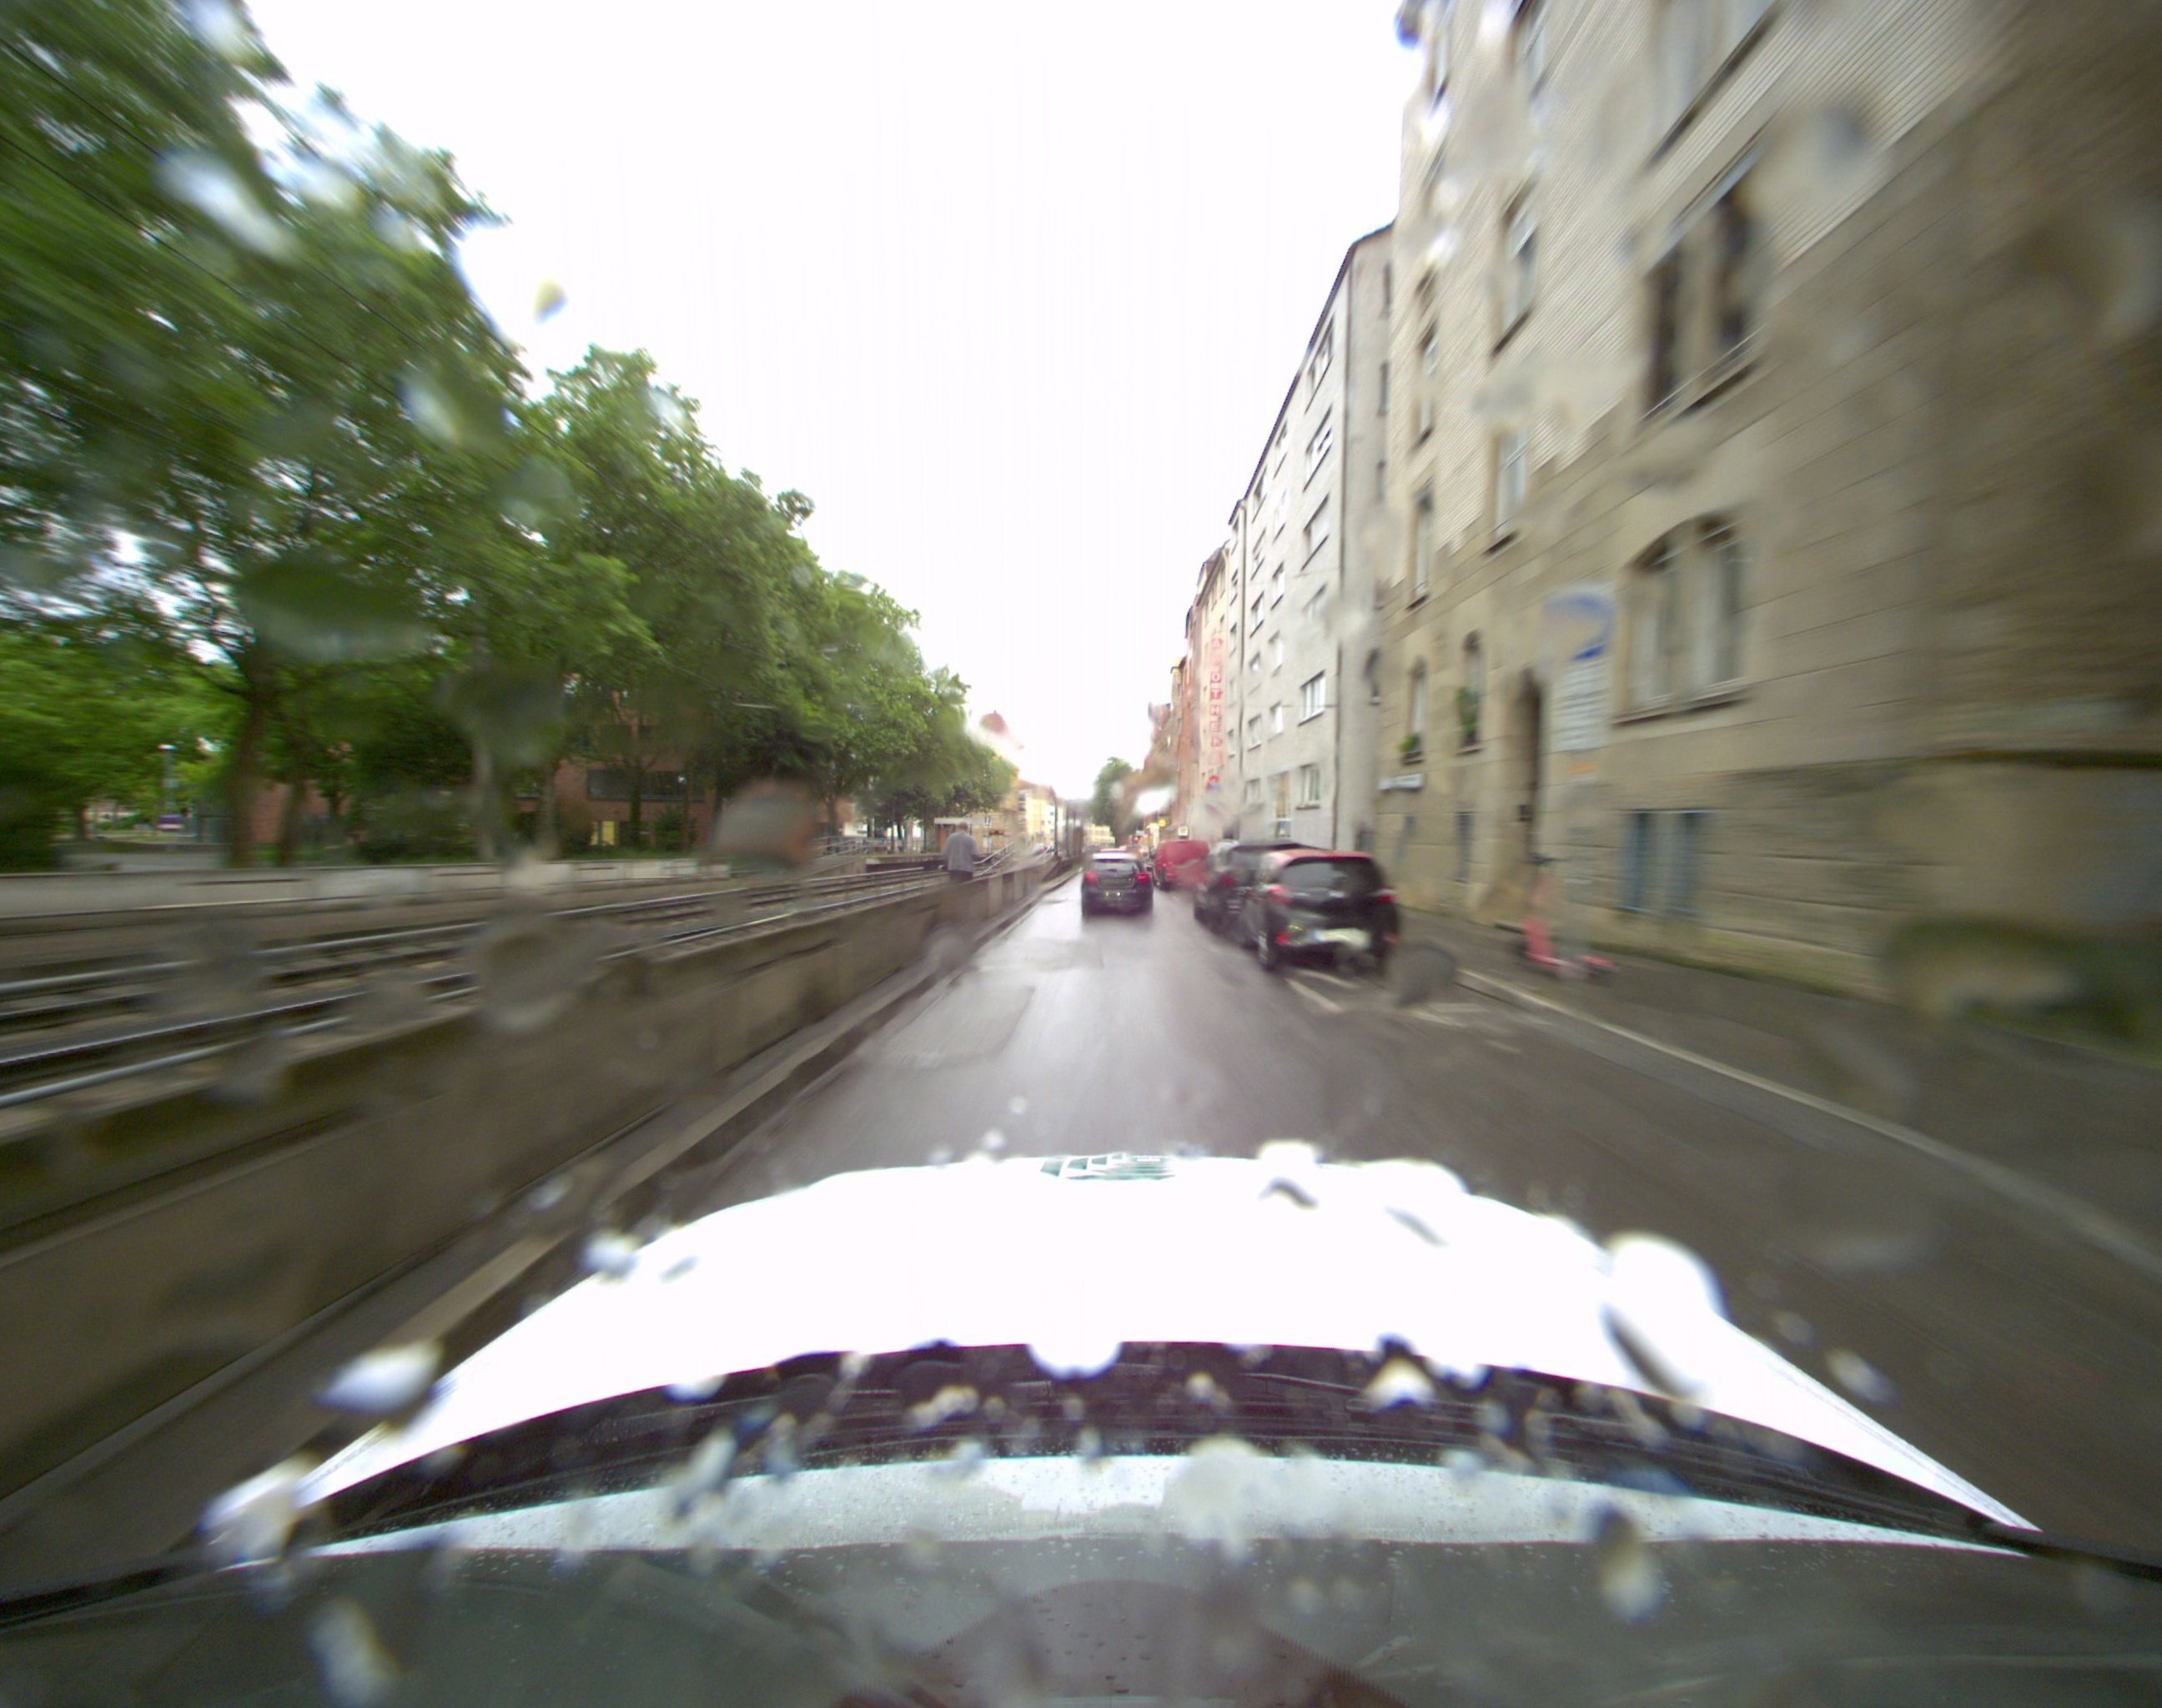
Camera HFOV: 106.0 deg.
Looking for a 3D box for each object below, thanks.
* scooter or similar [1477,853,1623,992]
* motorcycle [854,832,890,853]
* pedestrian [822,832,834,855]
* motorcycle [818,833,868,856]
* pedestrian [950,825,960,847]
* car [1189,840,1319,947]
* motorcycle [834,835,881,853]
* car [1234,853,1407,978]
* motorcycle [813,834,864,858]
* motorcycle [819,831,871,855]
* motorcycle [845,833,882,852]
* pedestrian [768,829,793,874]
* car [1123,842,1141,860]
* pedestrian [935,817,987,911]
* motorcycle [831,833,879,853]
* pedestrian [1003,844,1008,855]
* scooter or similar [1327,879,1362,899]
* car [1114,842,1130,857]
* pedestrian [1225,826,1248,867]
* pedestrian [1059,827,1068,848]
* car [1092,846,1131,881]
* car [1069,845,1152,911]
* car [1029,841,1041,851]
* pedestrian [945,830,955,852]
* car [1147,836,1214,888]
[{"bbox_3d":[4.857,0.655,8.542,0.366,1.315,1.562,-1,0,-11],"label":"scooter or similar"},{"bbox_3d":[-19.227,-1.088,74.931,3.026,1.815,0.993,1,1,0],"label":"motorcycle"},{"bbox_3d":[-21.938,-0.916,70.677,0.730,2.013,0.981,1,1,1],"label":"pedestrian"},{"bbox_3d":[-19.817,-0.792,67.811,3.851,1.815,1.006,1,1,0],"label":"motorcycle"},{"bbox_3d":[-9.764,-1.406,63.161,0.684,1.641,0.564,2,2,-1],"label":"pedestrian"},{"bbox_3d":[3.189,0.626,15.875,1.758,1.708,4.503,1,2,3],"label":"car"},{"bbox_3d":[-19.724,-0.870,72.031,3.851,1.487,1.006,1,1,0],"label":"motorcycle"},{"bbox_3d":[3.136,0.729,11.331,1.653,1.452,3.615,-1,0,6],"label":"car"},{"bbox_3d":[-19.854,-0.652,66.665,3.851,1.815,1.006,1,1,0],"label":"motorcycle"},{"bbox_3d":[-18.835,-0.873,65.093,3.851,1.773,1.006,1,1,0],"label":"motorcycle"},{"bbox_3d":[-19.514,-1.010,73.163,3.048,1.627,1.006,1,1,0],"label":"motorcycle"},{"bbox_3d":[-11.494,-0.114,31.151,0.655,1.662,0.688,2,3,1],"label":"pedestrian"},{"bbox_3d":[5.718,-0.411,91.583,1.913,1.935,4.689,1,1,3],"label":"car"},{"bbox_3d":[-2.362,0.180,16.147,0.856,1.799,0.787,1,1,1],"label":"pedestrian"},{"bbox_3d":[-19.409,-0.968,70.020,3.851,1.605,1.006,1,1,0],"label":"motorcycle"},{"bbox_3d":[-12.145,-0.679,130.448,0.758,1.750,0.645,0,2,3],"label":"pedestrian"},{"bbox_3d":[7.219,0.946,22.323,0.850,0.506,0.260,1,1,32],"label":"scooter or similar"},{"bbox_3d":[5.367,-0.607,107.059,1.927,1.831,4.280,1,1,-1],"label":"car"},{"bbox_3d":[6.886,-0.348,36.125,0.848,1.757,0.838,2,1,2],"label":"pedestrian"},{"bbox_3d":[-1.370,-1.245,62.739,0.492,1.604,0.640,1,1,18],"label":"pedestrian"},{"bbox_3d":[1.378,0.390,37.756,1.674,1.489,3.613,0,1,0],"label":"car"},{"bbox_3d":[0.761,0.521,20.453,1.887,1.390,4.004,0,2,2],"label":"car"},{"bbox_3d":[-8.862,-1.491,157.462,1.986,1.859,4.002,0,1,2],"label":"car"},{"bbox_3d":[-10.356,-1.069,64.412,0.560,1.715,0.706,2,2,0],"label":"pedestrian"},{"bbox_3d":[3.781,0.250,31.810,1.968,1.838,5.245,1,1,0],"label":"car"}]
